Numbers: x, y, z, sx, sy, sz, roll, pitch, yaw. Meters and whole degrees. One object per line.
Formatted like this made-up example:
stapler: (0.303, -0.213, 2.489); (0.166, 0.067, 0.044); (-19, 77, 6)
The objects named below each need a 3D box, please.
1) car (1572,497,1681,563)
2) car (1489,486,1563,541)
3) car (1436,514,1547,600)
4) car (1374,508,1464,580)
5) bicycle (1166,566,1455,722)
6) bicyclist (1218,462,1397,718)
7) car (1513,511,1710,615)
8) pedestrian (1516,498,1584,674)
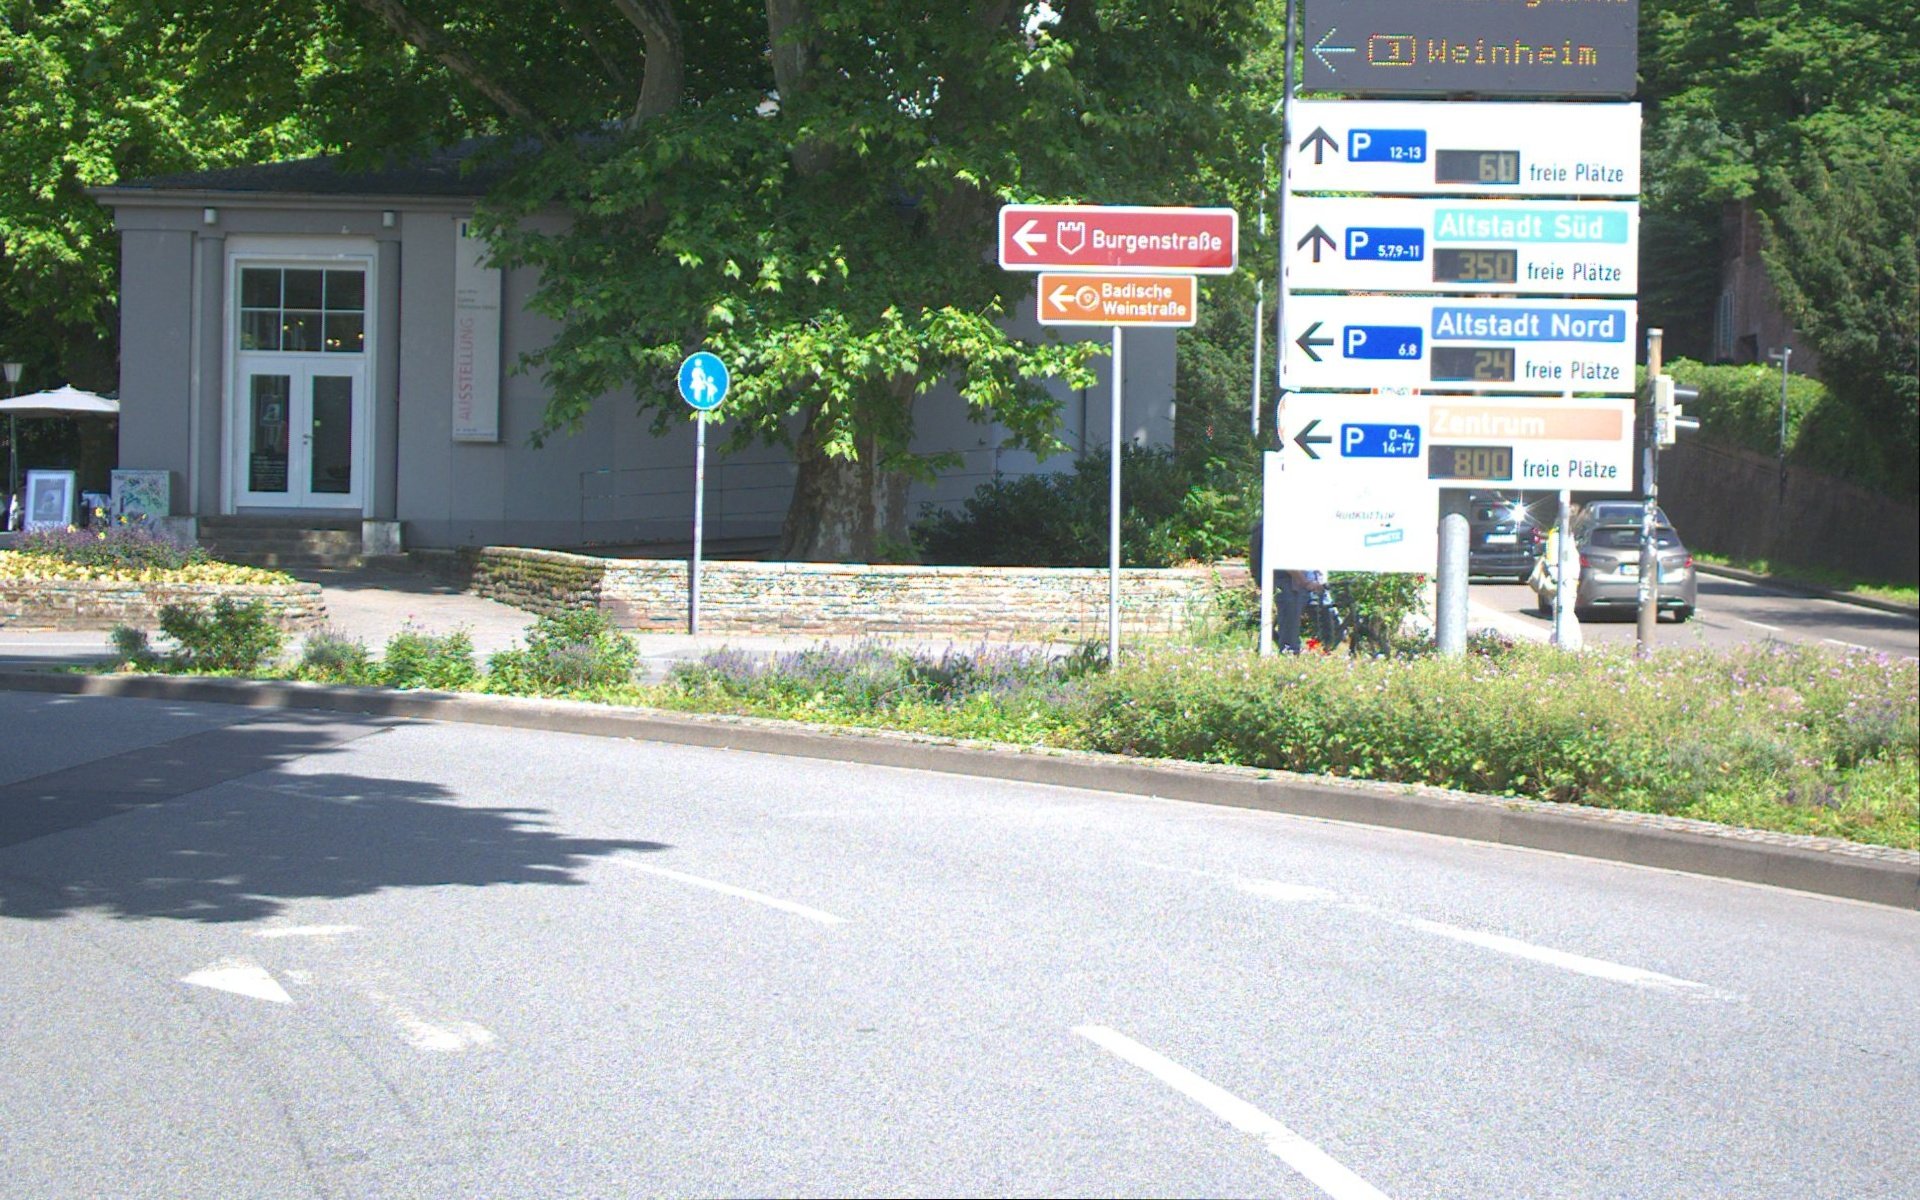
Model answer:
car: (13.008, -1.390, 67.239); (1.756, 1.209, 3.493); (2, 2, 6)
car: (15.655, -2.405, 95.271); (1.756, 1.456, 3.645); (2, 2, 6)
car: (9.572, -0.807, 62.122); (1.756, 1.456, 3.493); (2, 2, 6)
car: (9.822, -1.223, 73.776); (1.756, 1.456, 3.645); (2, 2, 6)
bicycle: (2.710, 0.322, 26.665); (2.080, 1.109, 0.755); (2, 2, 31)
bicyclist: (2.697, -0.088, 26.665); (1.128, 1.926, 0.747); (2, 1, 31)
car: (9.076, -0.542, 48.169); (1.756, 1.329, 3.802); (1, 2, -4)
pedestrian: (5.514, -0.142, 32.099); (0.547, 1.615, 0.634); (1, 2, 15)
